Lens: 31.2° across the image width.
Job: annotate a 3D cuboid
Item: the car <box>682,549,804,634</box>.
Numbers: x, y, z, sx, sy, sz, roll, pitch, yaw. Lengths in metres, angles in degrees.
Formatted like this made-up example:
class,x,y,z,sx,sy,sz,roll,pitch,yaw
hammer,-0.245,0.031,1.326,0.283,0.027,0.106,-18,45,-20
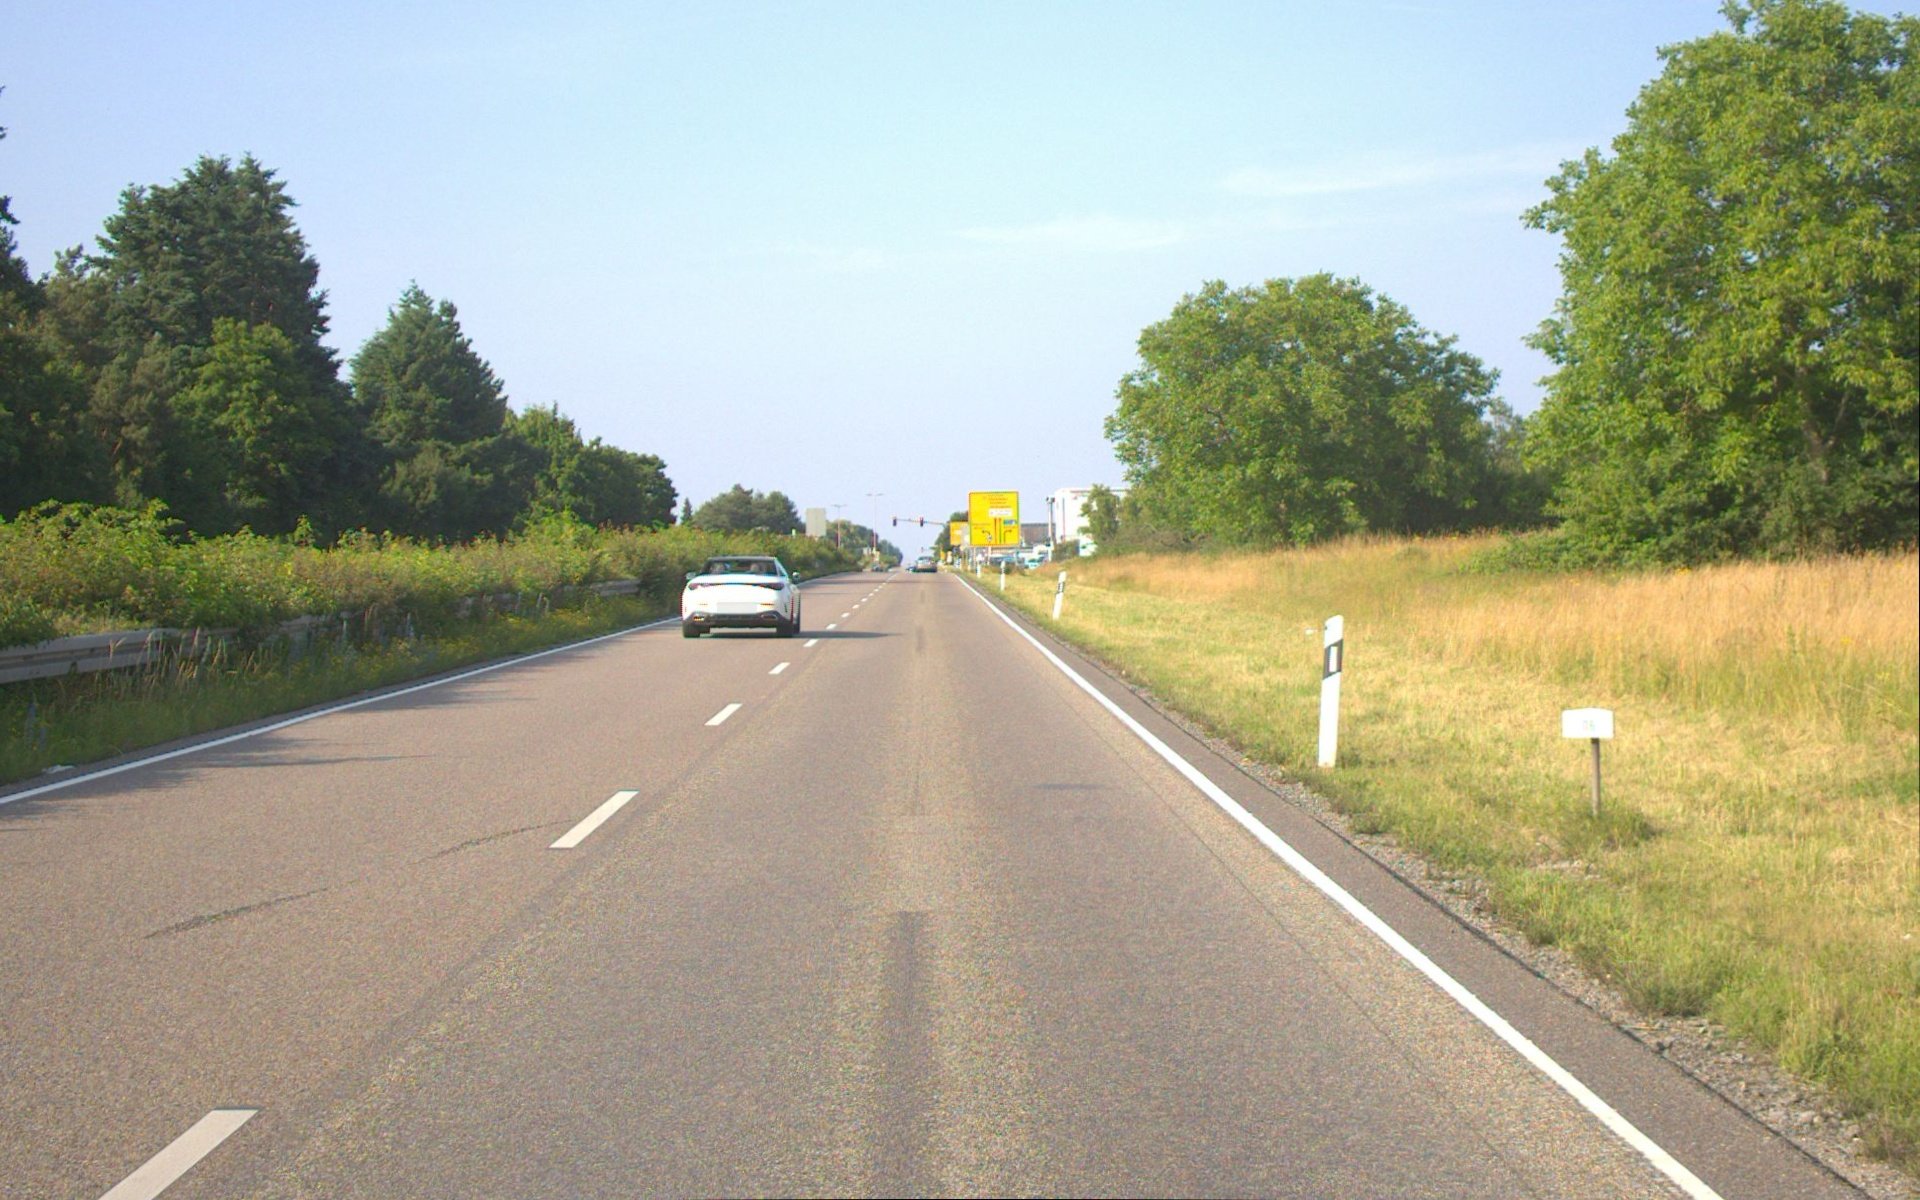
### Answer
class,x,y,z,sx,sy,sz,roll,pitch,yaw
car,-3.684,-0.164,58.925,1.909,1.417,4.000,0,1,-1
